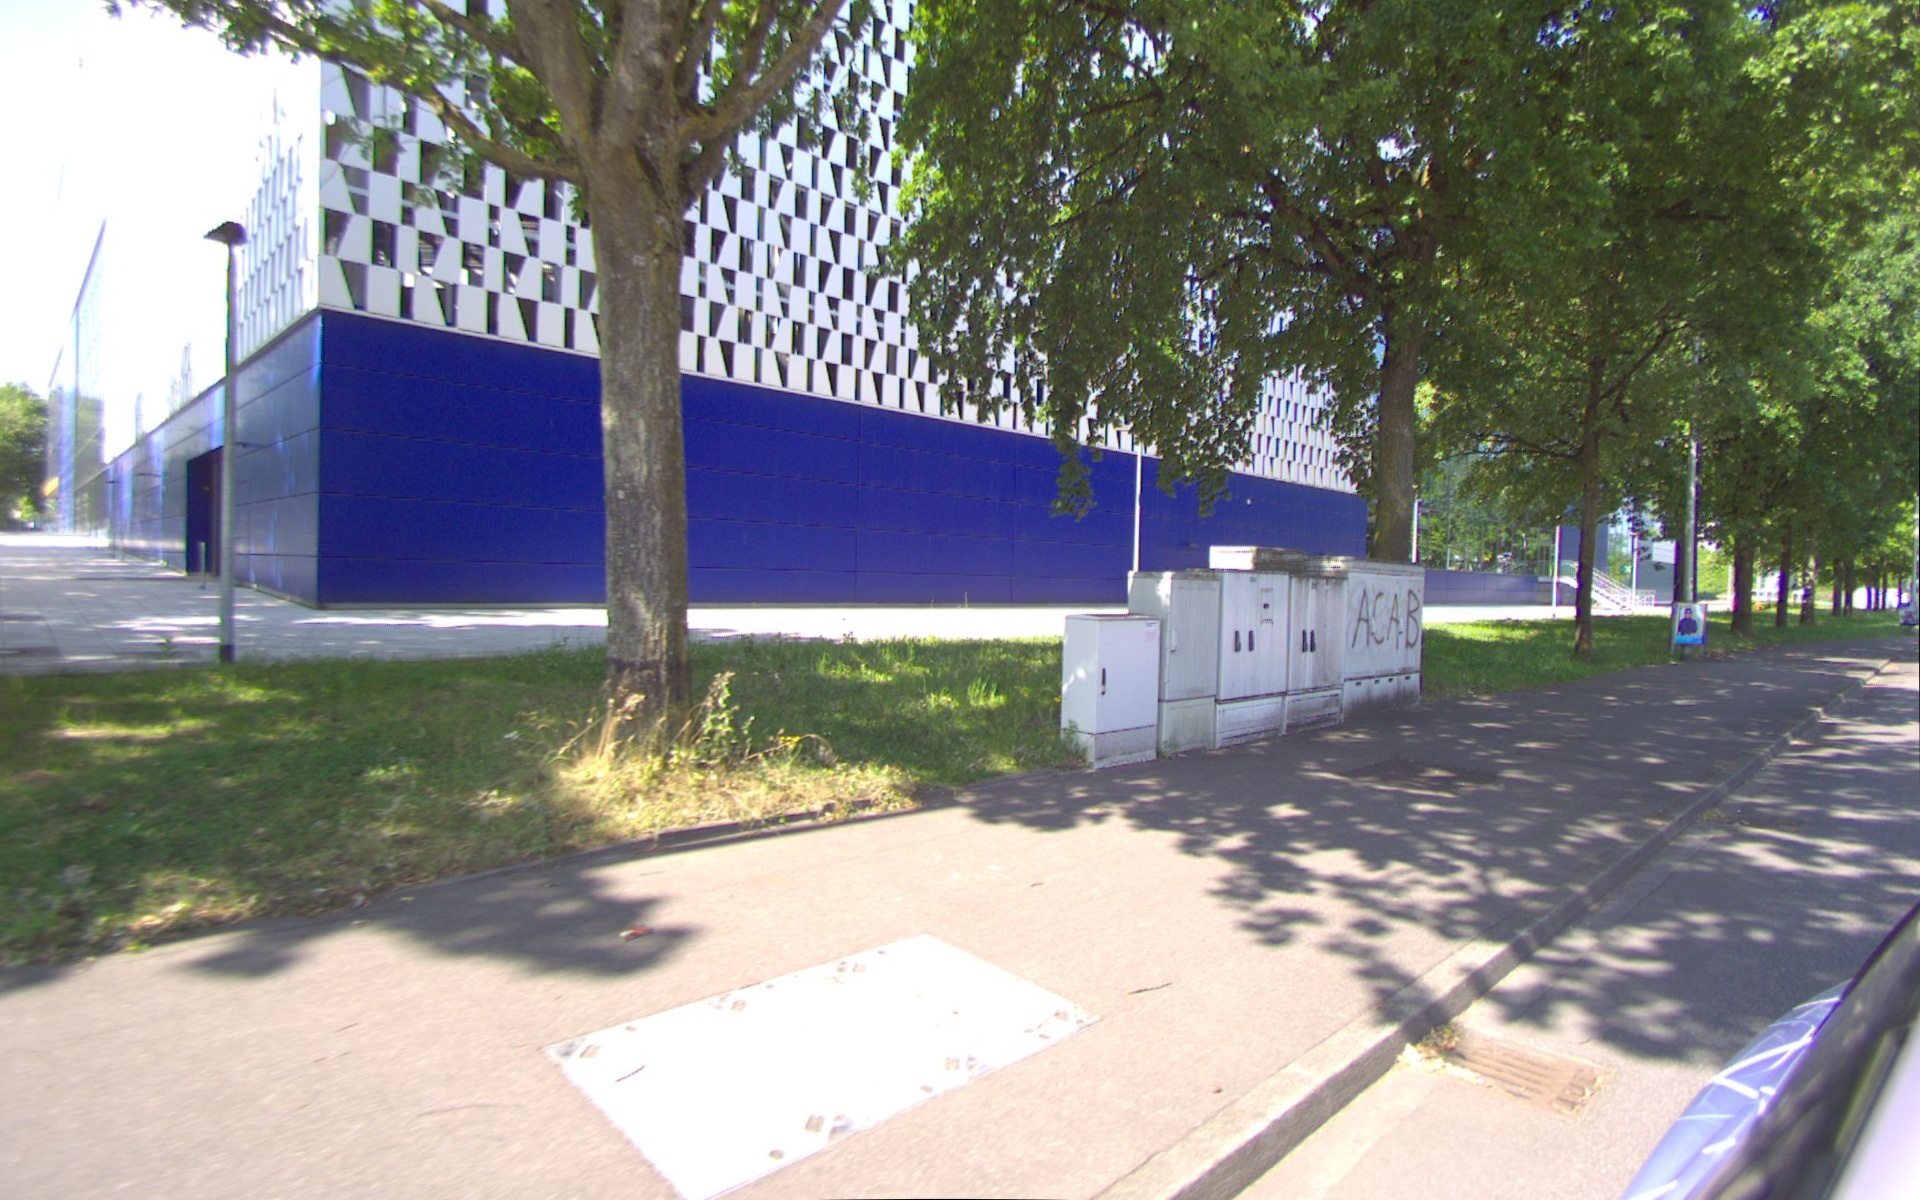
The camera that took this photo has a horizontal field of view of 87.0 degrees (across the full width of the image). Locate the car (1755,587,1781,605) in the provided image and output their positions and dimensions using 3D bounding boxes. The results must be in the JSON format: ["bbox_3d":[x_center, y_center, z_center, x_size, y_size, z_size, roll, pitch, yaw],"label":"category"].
[{"bbox_3d":[87.807,-0.431,109.913,1.905,1.851,4.115,3,2,43],"label":"car"}]
